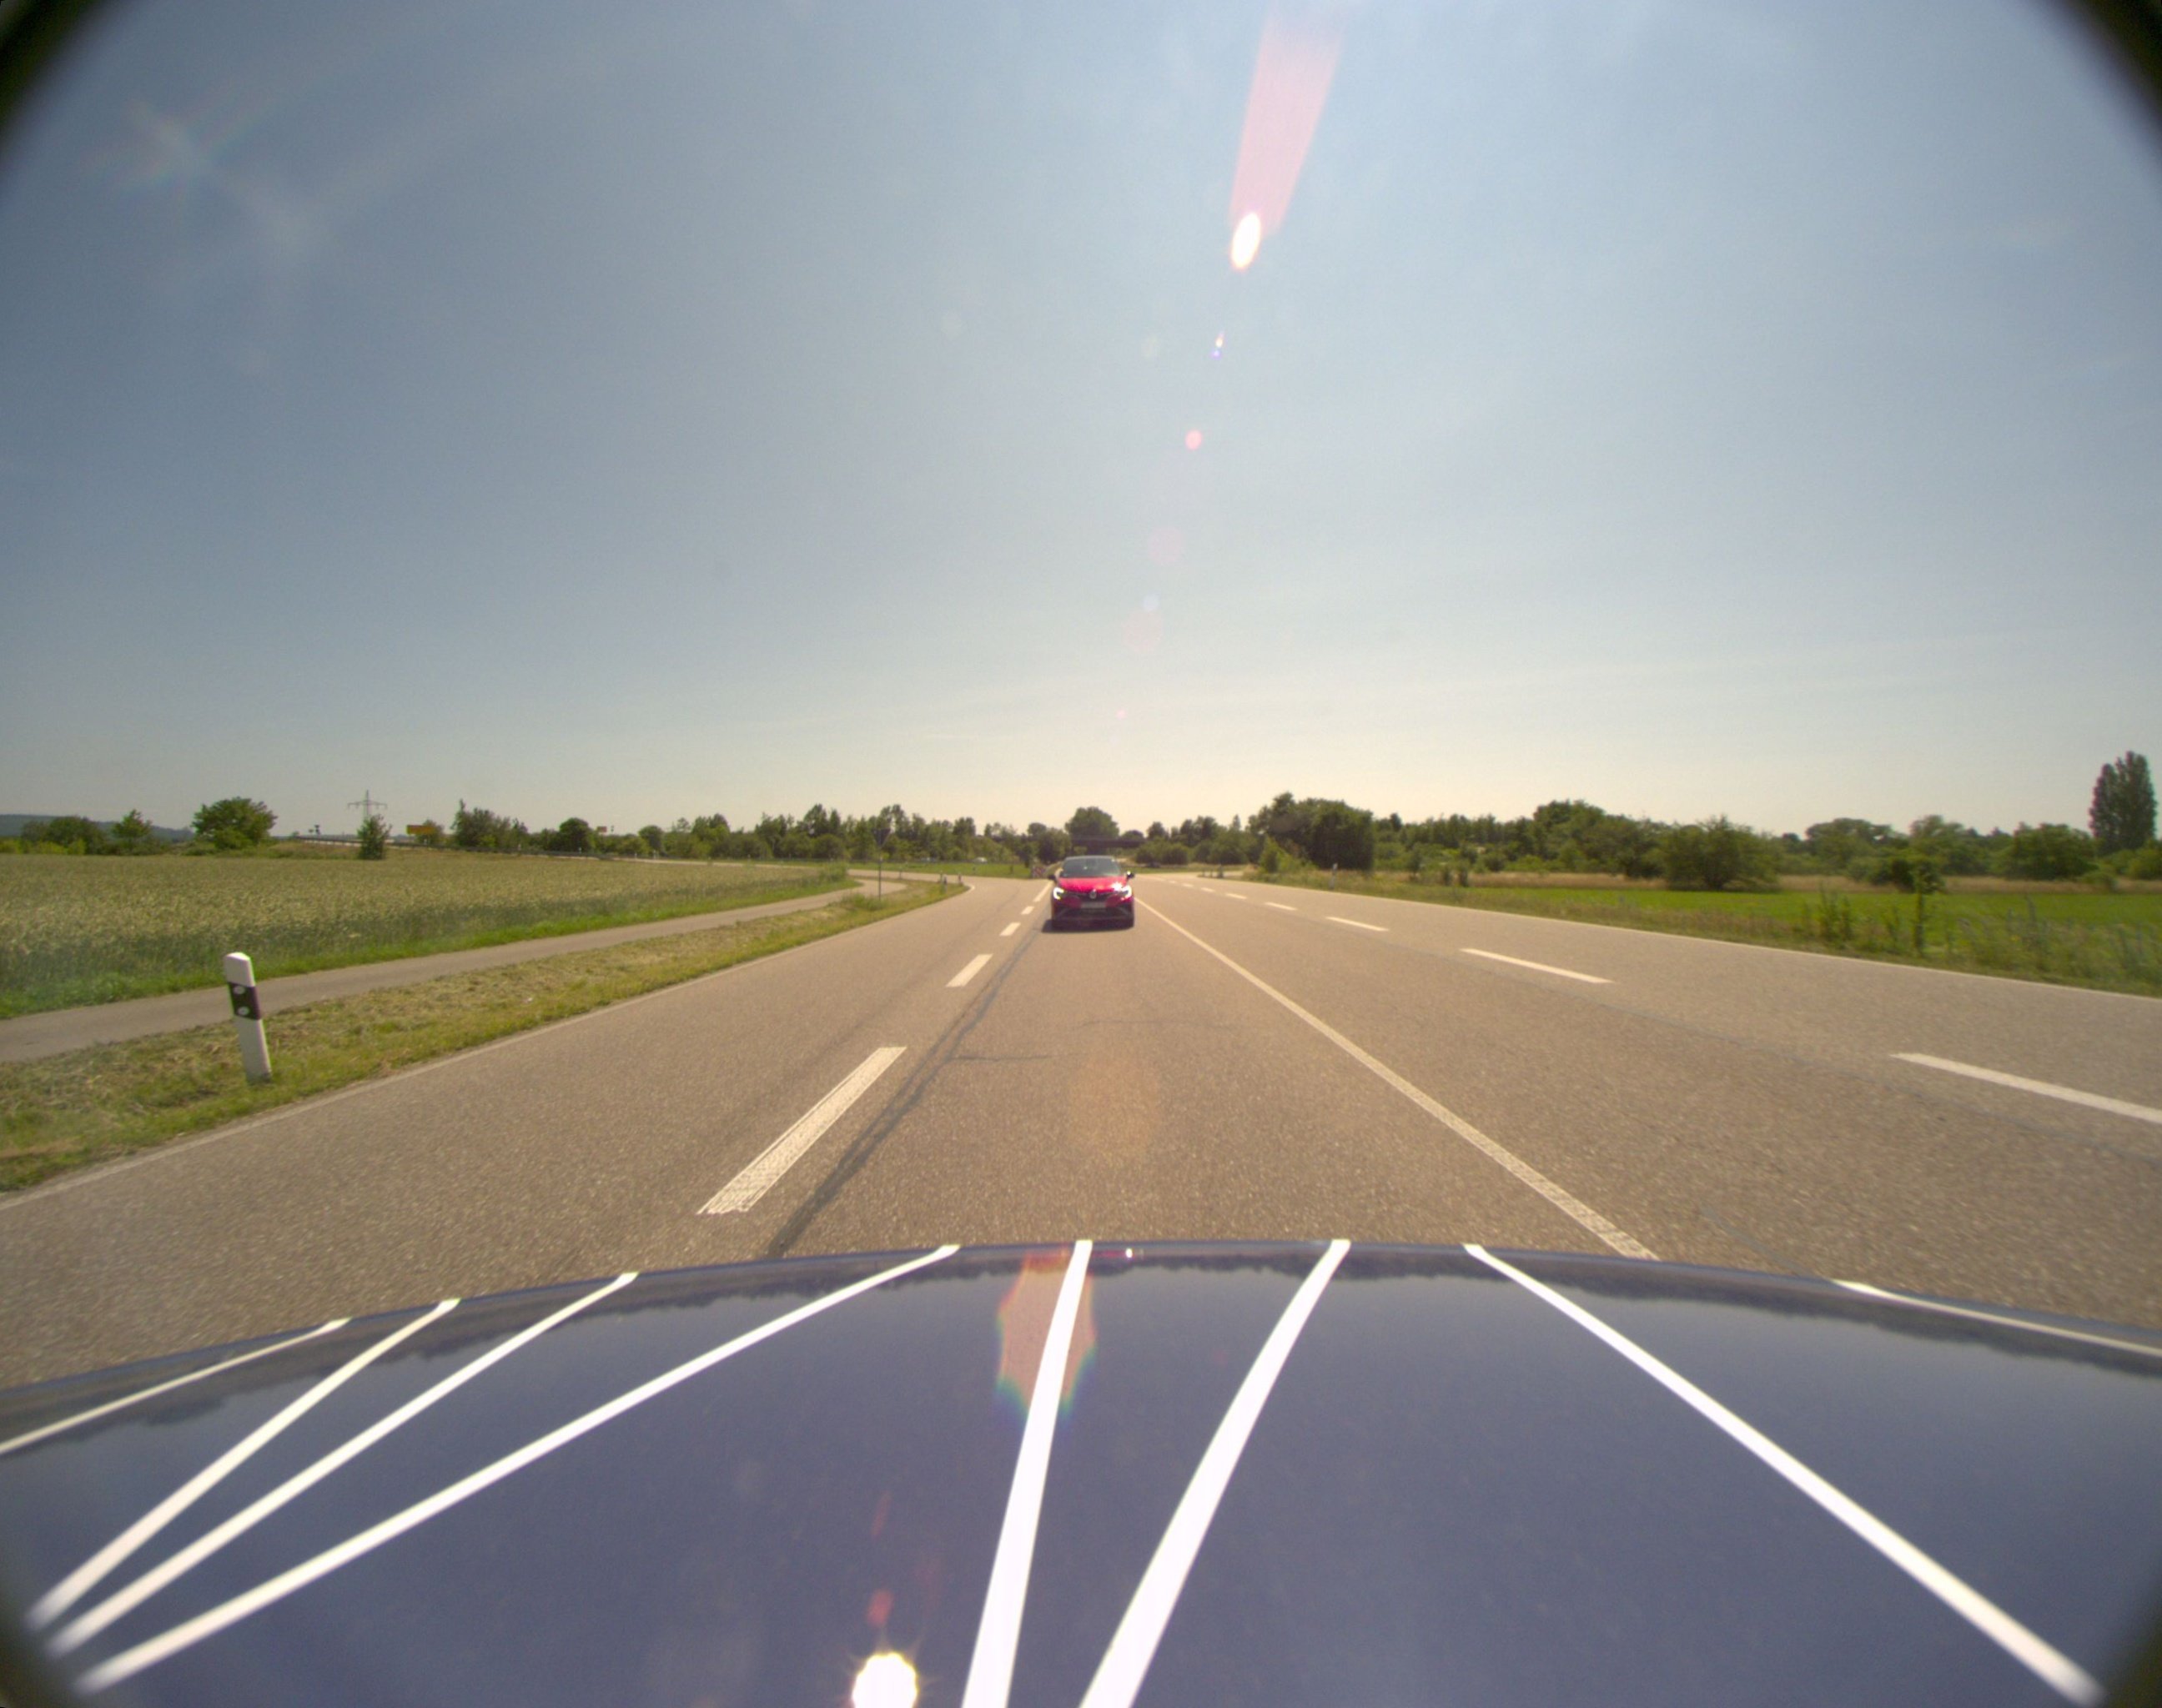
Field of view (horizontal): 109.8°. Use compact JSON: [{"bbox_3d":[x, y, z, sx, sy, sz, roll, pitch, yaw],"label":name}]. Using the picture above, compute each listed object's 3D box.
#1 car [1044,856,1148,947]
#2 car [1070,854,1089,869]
[{"bbox_3d":[0.283,0.860,16.027,1.837,1.587,4.722,-1,0,0],"label":"car"},{"bbox_3d":[-0.191,0.802,82.190,1.983,1.587,5.401,-1,0,0],"label":"car"}]
